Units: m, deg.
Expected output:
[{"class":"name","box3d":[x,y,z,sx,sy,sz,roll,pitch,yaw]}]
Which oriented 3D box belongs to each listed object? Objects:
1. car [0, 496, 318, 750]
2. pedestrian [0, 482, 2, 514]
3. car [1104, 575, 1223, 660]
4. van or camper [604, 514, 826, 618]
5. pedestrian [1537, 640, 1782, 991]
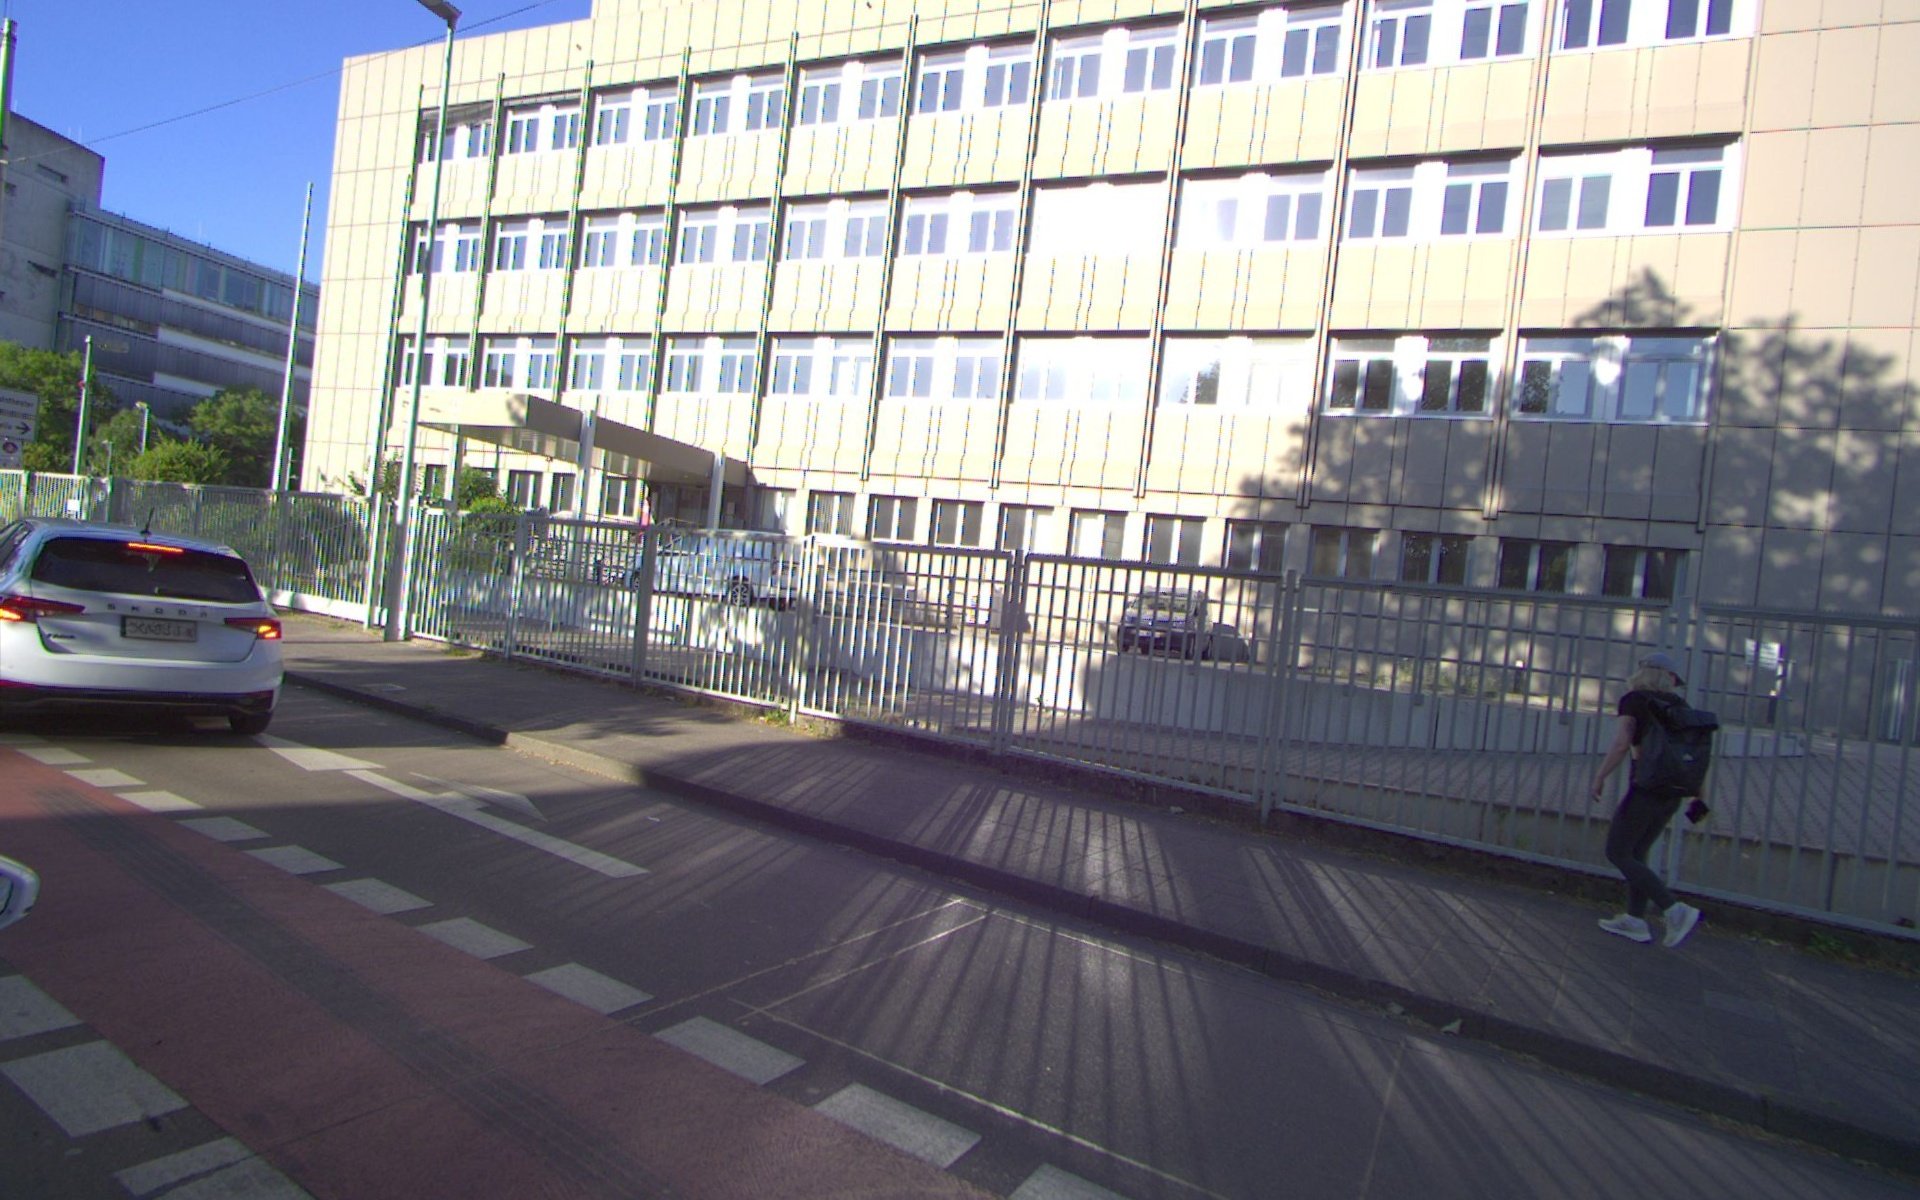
[{"class":"car","box3d":[-6.717,0.070,7.881,3.928,1.519,1.799,6,-1,43]},{"class":"pedestrian","box3d":[-20.195,-1.591,20.379,0.757,1.771,0.788,6,1,16]},{"class":"car","box3d":[5.174,0.486,25.084,1.957,1.739,4.263,6,0,23]},{"class":"van or camper","box3d":[-5.968,-0.826,24.471,4.908,1.933,1.985,7,1,23]},{"class":"pedestrian","box3d":[3.906,1.136,5.677,0.916,1.705,0.696,7,1,35]}]
